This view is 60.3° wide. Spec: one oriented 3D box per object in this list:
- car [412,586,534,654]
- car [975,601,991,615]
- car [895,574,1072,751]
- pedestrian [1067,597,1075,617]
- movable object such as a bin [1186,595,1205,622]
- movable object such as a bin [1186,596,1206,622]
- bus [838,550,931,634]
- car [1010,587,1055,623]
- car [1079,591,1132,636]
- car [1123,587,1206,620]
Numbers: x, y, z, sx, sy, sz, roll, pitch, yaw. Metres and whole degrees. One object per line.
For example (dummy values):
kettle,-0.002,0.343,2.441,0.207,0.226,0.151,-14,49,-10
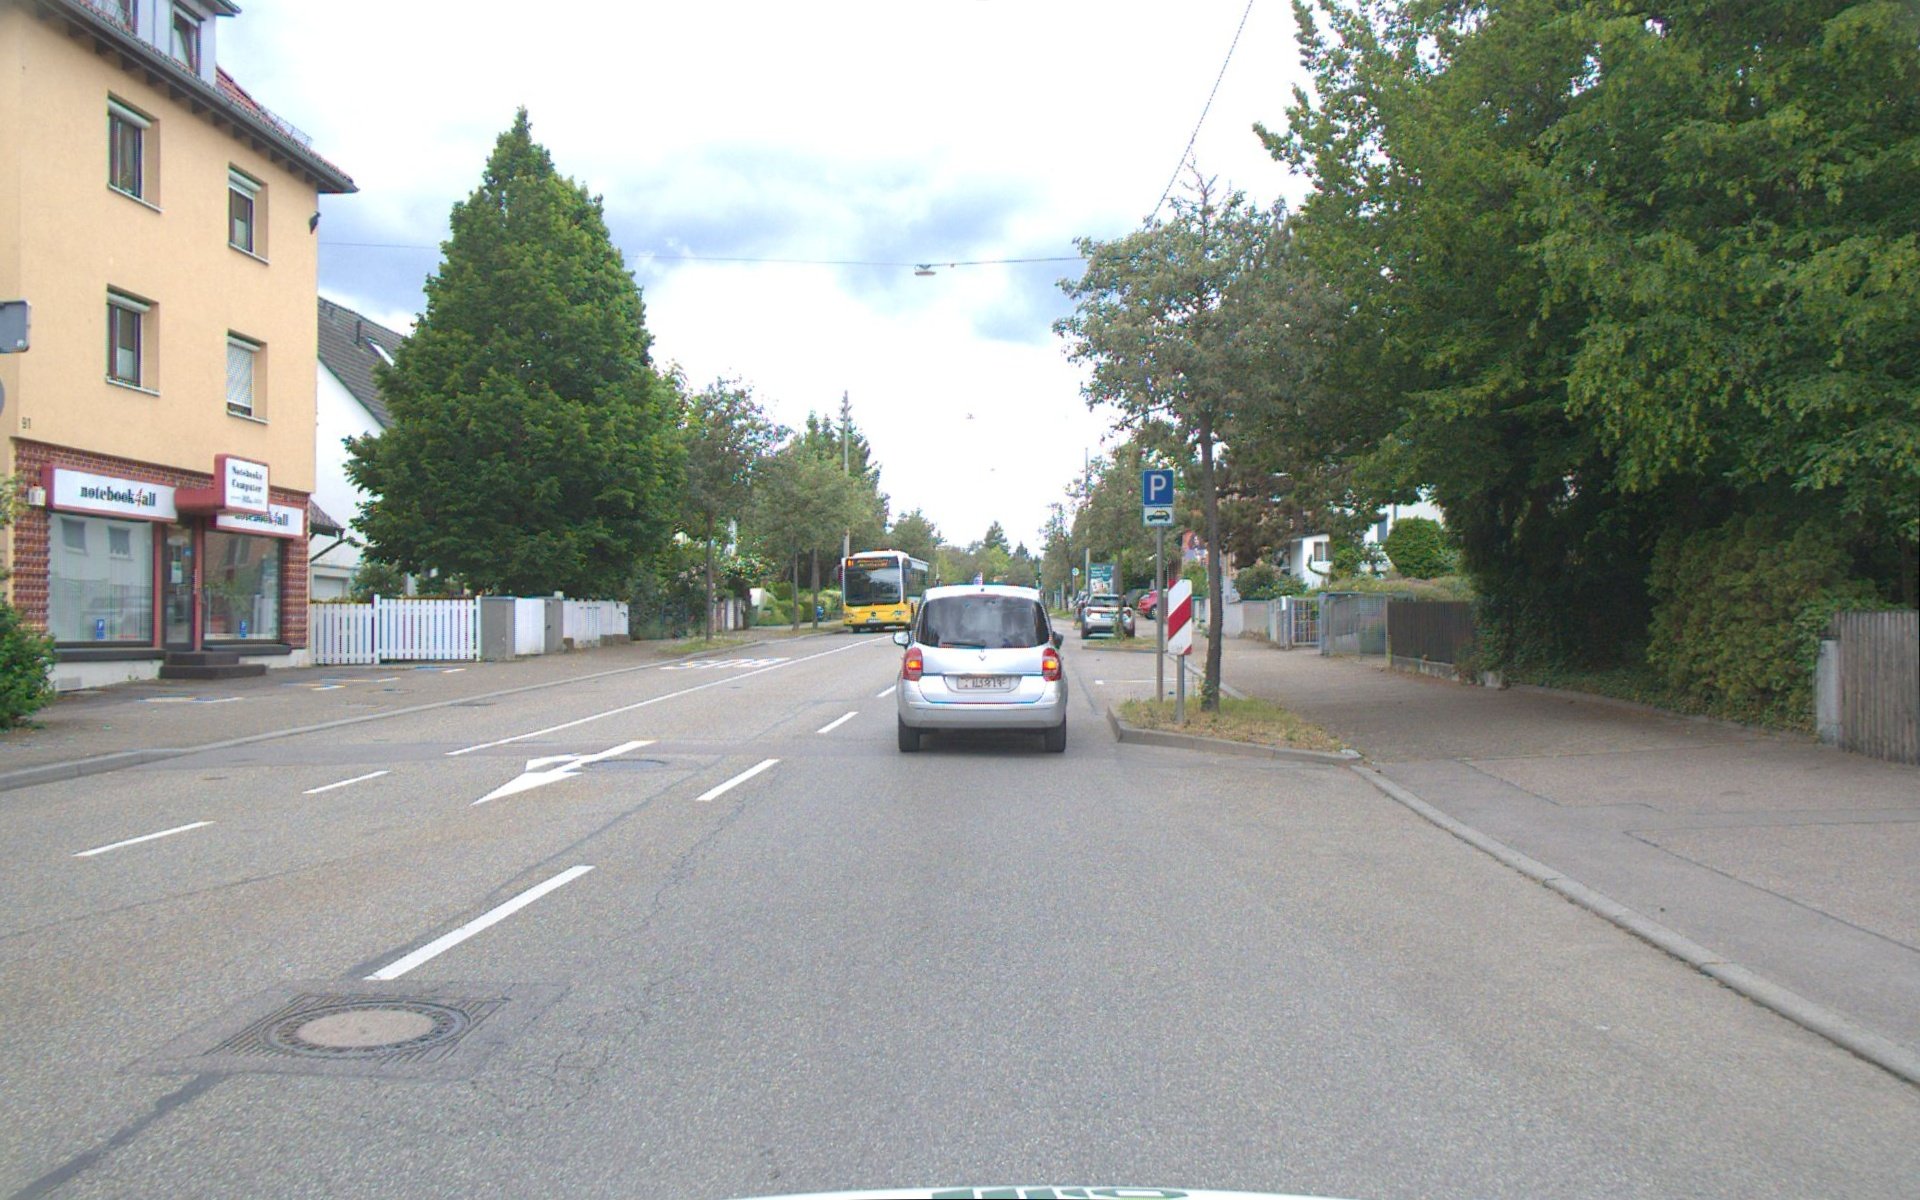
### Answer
car,-12.425,0.469,42.489,1.769,1.591,4.617,-2,0,-1
car,2.911,1.012,208.638,1.867,1.646,3.998,1,-1,-2
car,0.286,0.604,17.178,1.596,1.584,4.001,1,-1,2
pedestrian,9.524,0.584,142.017,0.691,1.675,0.774,-1,0,2
movable object such as a bin,10.185,0.367,71.609,0.760,1.123,0.691,-1,0,2
movable object such as a bin,10.113,0.392,70.854,0.760,1.123,0.691,-1,0,2
bus,-3.003,-0.304,69.425,2.577,3.140,12.075,-2,0,3
car,3.532,0.255,79.813,1.790,1.705,3.577,0,0,9
car,4.737,0.472,54.138,1.615,1.407,4.001,0,-1,3
car,10.667,0.180,86.437,3.910,1.522,1.808,-3,0,-6
